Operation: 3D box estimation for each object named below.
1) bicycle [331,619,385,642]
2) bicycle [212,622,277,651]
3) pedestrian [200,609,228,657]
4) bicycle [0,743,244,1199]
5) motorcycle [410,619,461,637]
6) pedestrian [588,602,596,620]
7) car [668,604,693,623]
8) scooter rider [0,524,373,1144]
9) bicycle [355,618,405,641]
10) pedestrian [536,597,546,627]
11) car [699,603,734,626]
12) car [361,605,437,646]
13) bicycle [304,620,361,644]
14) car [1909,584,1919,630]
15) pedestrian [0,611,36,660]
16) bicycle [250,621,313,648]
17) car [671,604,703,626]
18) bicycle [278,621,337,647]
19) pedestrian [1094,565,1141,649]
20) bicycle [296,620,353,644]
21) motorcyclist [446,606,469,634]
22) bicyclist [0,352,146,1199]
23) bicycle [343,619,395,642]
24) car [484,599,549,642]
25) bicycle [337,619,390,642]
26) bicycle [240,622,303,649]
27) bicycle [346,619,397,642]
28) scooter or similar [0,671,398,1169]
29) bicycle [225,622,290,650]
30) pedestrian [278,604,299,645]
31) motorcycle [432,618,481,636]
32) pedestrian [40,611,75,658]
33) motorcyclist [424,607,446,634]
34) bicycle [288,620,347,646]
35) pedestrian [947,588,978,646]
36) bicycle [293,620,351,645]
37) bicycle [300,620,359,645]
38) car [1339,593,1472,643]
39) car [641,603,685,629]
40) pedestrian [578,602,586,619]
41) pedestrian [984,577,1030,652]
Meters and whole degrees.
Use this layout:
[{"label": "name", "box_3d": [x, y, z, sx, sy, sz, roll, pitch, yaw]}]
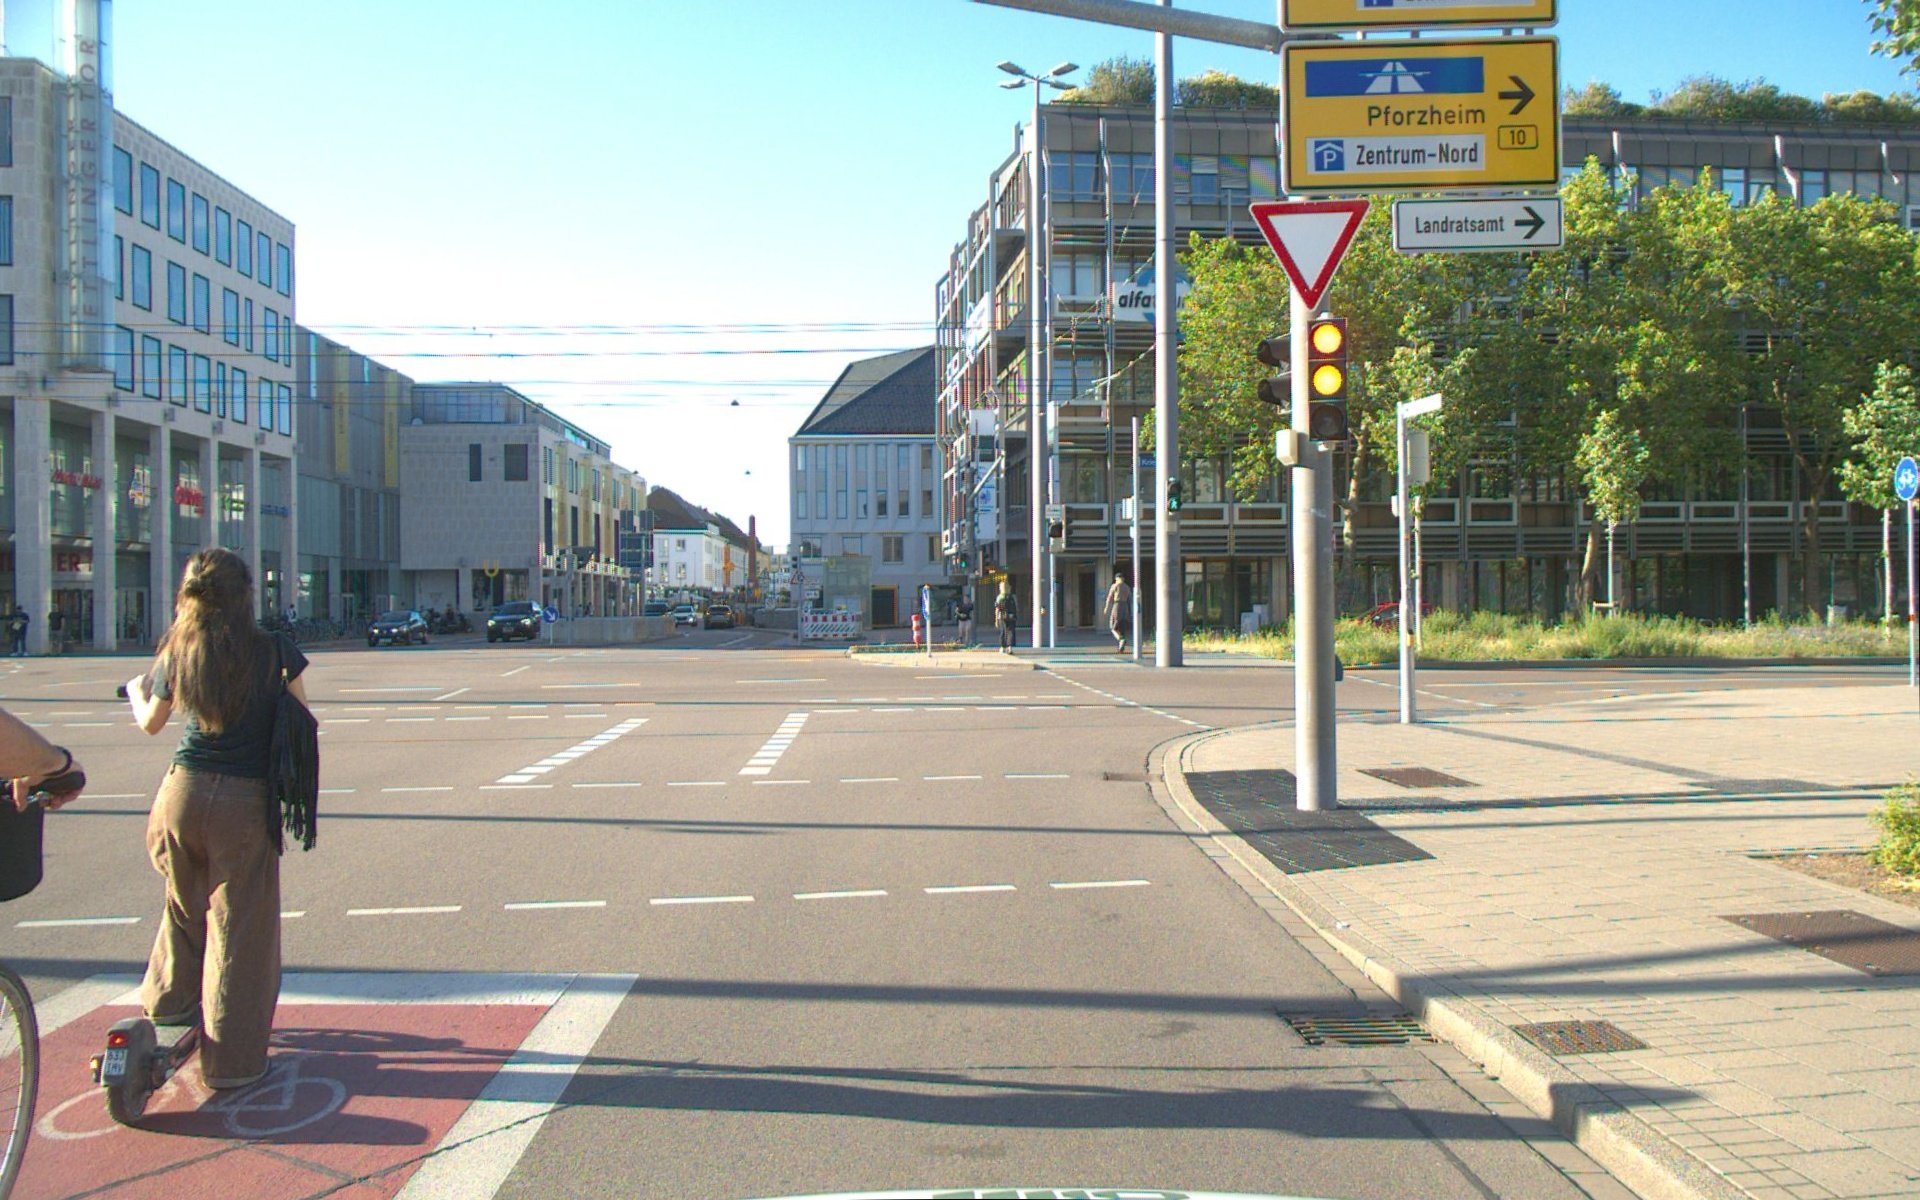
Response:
[{"label": "bicycle", "box_3d": [-30.310, 1.548, 83.327, 2.417, 1.130, 0.835, -1, 0, 0]}, {"label": "bicycle", "box_3d": [-29.440, 1.507, 68.094, 2.354, 1.132, 0.658, -1, 0, -1]}, {"label": "pedestrian", "box_3d": [-27.755, 1.212, 61.531, 0.736, 1.770, 0.756, 0, 0, -3]}, {"label": "bicycle", "box_3d": [-1.975, 0.893, 2.921, 0.692, 1.113, 1.799, -1, 0, -2]}, {"label": "motorcycle", "box_3d": [-29.739, 1.583, 93.876, 2.617, 1.013, 0.915, 1, 0, -8]}, {"label": "pedestrian", "box_3d": [-28.017, 0.832, 125.937, 0.479, 1.380, 0.563, 1, -1, -7]}, {"label": "car", "box_3d": [-29.141, 1.408, 172.455, 2.131, 1.906, 5.609, 0, -1, -5]}, {"label": "scooter rider", "box_3d": [-2.187, 0.593, 4.771, 0.629, 1.571, 1.116, 1, 0, -4]}, {"label": "bicycle", "box_3d": [-30.432, 1.553, 86.786, 2.417, 1.130, 0.660, -1, 0, 0]}, {"label": "pedestrian", "box_3d": [-29.413, 0.849, 116.115, 0.606, 2.049, 0.476, 1, -1, -16]}, {"label": "car", "box_3d": [-15.882, 0.978, 108.045, 1.898, 1.475, 4.258, 0, -1, -4]}, {"label": "car", "box_3d": [-23.583, 1.042, 69.654, 1.899, 1.608, 4.292, -1, 0, -3]}, {"label": "bicycle", "box_3d": [-30.349, 1.528, 79.980, 2.417, 1.130, 0.835, -1, 0, 0]}, {"label": "car", "box_3d": [38.417, 0.317, 62.010, 4.764, 1.709, 1.996, 1, 1, -10]}, {"label": "pedestrian", "box_3d": [-33.174, 1.233, 58.125, 1.000, 1.680, 0.933, 0, 0, -44]}, {"label": "bicycle", "box_3d": [-29.384, 1.499, 71.615, 2.417, 1.130, 0.684, -1, 0, 0]}, {"label": "car", "box_3d": [-22.248, 1.230, 135.166, 2.131, 1.722, 5.609, 0, -1, -5]}, {"label": "bicycle", "box_3d": [-29.575, 1.520, 74.961, 2.417, 1.130, 0.593, -1, 0, 0]}, {"label": "pedestrian", "box_3d": [3.367, 0.142, 35.346, 0.839, 1.774, 0.738, -1, 1, -9]}, {"label": "bicycle", "box_3d": [-30.237, 1.524, 78.730, 2.417, 1.130, 0.684, -1, 0, 0]}, {"label": "motorcyclist", "box_3d": [-29.583, 1.167, 97.346, 1.115, 1.602, 0.915, 1, -1, -8]}, {"label": "bicyclist", "box_3d": [-1.985, 0.428, 2.948, 0.685, 1.698, 0.786, -1, 0, -3]}, {"label": "bicycle", "box_3d": [-30.307, 1.550, 84.838, 2.417, 1.130, 0.660, -1, 0, 0]}, {"label": "car", "box_3d": [-18.518, 0.836, 69.218, 1.900, 1.707, 4.289, -1, 0, -5]}, {"label": "bicycle", "box_3d": [-30.325, 1.540, 84.133, 2.417, 1.130, 0.660, -1, 0, 0]}, {"label": "bicycle", "box_3d": [-29.465, 1.507, 70.804, 2.416, 1.130, 0.684, -1, 0, 1]}, {"label": "bicycle", "box_3d": [-30.424, 1.561, 85.503, 2.417, 1.130, 0.631, -1, 0, 0]}, {"label": "scooter or similar", "box_3d": [-2.214, 0.846, 4.953, 0.629, 1.196, 1.482, 1, 0, -4]}, {"label": "bicycle", "box_3d": [-29.485, 1.515, 69.439, 2.417, 1.130, 0.684, -1, 0, -1]}, {"label": "pedestrian", "box_3d": [-33.496, 1.205, 82.461, 0.933, 2.017, 1.000, 0, 0, -25]}, {"label": "motorcycle", "box_3d": [-29.612, 1.600, 97.327, 2.617, 1.013, 0.915, 1, 0, -8]}, {"label": "pedestrian", "box_3d": [-31.257, 1.184, 57.267, 0.937, 1.598, 0.829, 0, 0, -41]}, {"label": "motorcyclist", "box_3d": [-29.812, 1.176, 93.857, 1.017, 1.497, 0.915, 1, 0, -8]}, {"label": "bicycle", "box_3d": [-29.604, 1.526, 76.187, 2.417, 1.130, 0.684, -1, 0, 0]}, {"label": "pedestrian", "box_3d": [0.089, 0.570, 55.708, 0.991, 1.944, 1.051, 0, 0, 1]}, {"label": "bicycle", "box_3d": [-29.679, 1.521, 76.961, 2.417, 1.130, 0.684, -1, 0, 0]}, {"label": "bicycle", "box_3d": [-29.648, 1.522, 77.767, 2.417, 1.130, 0.835, -1, 0, 0]}, {"label": "car", "box_3d": [14.702, 0.610, 54.639, 3.796, 1.512, 1.842, -1, -3, -9]}, {"label": "car", "box_3d": [-20.197, 1.073, 112.584, 2.130, 1.722, 5.485, 0, -1, -1]}, {"label": "pedestrian", "box_3d": [-29.407, 0.820, 128.636, 0.479, 1.380, 0.563, 1, -1, -7]}, {"label": "pedestrian", "box_3d": [1.010, 0.295, 35.723, 0.879, 1.576, 0.922, -1, 1, -7]}]
